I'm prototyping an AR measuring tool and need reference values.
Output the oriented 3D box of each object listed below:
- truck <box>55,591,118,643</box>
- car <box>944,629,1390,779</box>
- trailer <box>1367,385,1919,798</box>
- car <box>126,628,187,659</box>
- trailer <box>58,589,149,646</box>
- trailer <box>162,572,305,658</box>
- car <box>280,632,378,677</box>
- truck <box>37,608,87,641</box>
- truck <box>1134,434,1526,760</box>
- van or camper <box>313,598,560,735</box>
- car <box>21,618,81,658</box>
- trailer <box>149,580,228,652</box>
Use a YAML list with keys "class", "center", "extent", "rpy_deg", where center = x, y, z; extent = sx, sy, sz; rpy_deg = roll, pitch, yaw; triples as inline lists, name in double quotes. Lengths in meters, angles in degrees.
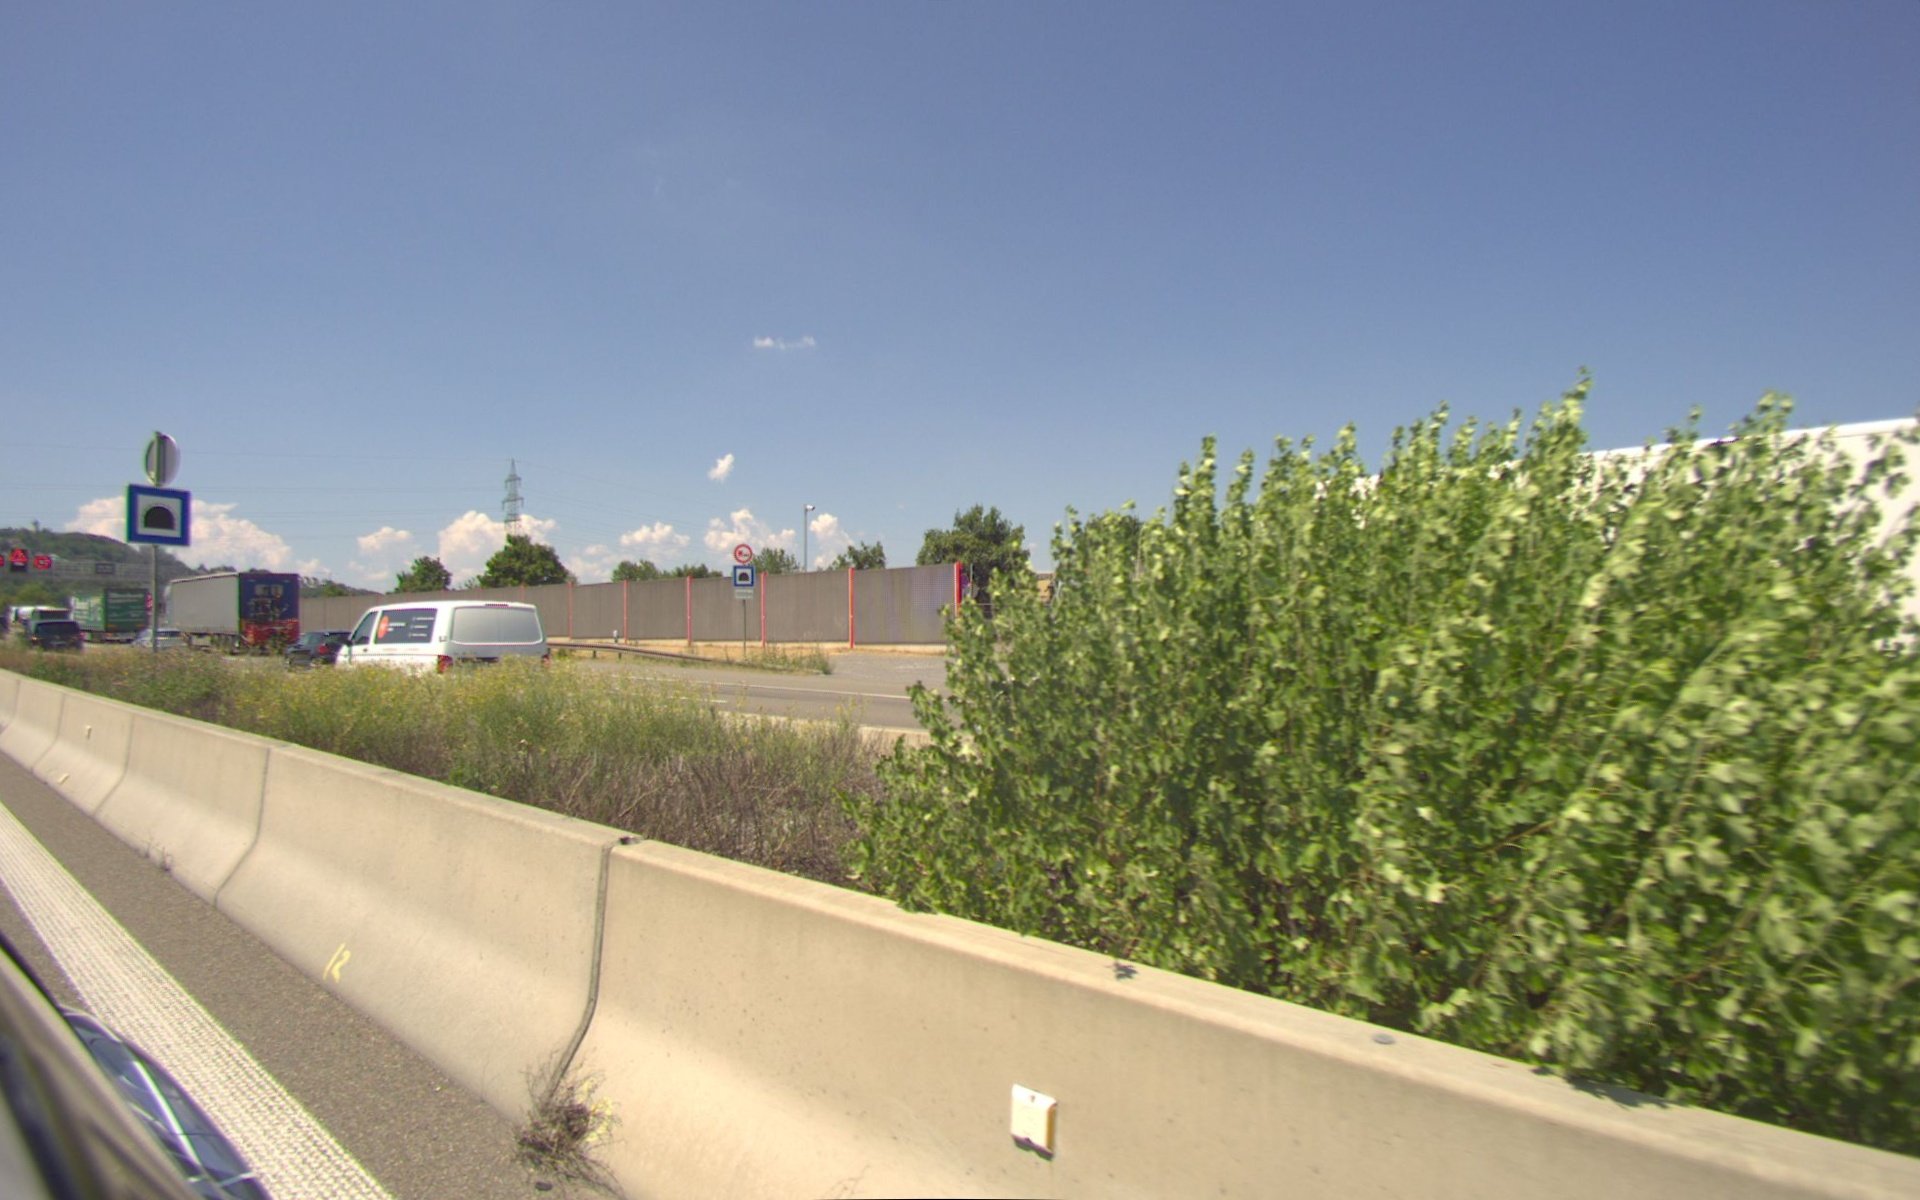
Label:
- class: "truck"
  center: [-70.978, 1.356, 82.228]
  extent: [5.018, 4.087, 3.189]
  rpy_deg: [-1, 0, 41]
- class: "car"
  center: [2.282, 1.093, 12.261]
  extent: [5.102, 1.441, 1.772]
  rpy_deg: [-1, -3, 41]
- class: "trailer"
  center: [8.543, -0.026, 11.744]
  extent: [6.614, 3.903, 2.620]
  rpy_deg: [-1, -2, 41]
- class: "car"
  center: [-38.637, 2.059, 48.641]
  extent: [3.740, 1.349, 1.633]
  rpy_deg: [-1, -1, 41]
- class: "trailer"
  center: [-65.929, 1.294, 77.723]
  extent: [14.384, 4.087, 3.222]
  rpy_deg: [-1, 0, 41]
- class: "trailer"
  center: [-39.215, 0.835, 54.231]
  extent: [15.156, 4.097, 2.953]
  rpy_deg: [-1, -1, 41]
- class: "car"
  center: [-20.269, 1.717, 32.453]
  extent: [3.494, 1.349, 1.715]
  rpy_deg: [-1, -3, 41]
- class: "truck"
  center: [-82.620, 2.253, 93.042]
  extent: [9.087, 2.895, 2.374]
  rpy_deg: [-1, -1, 41]
- class: "truck"
  center: [5.240, 0.020, 14.660]
  extent: [4.723, 3.903, 2.612]
  rpy_deg: [-1, -2, 41]
- class: "van or camper"
  center: [-9.186, 1.022, 17.503]
  extent: [5.442, 2.029, 1.973]
  rpy_deg: [-1, -1, 41]
- class: "car"
  center: [-41.657, 1.712, 46.365]
  extent: [3.740, 1.716, 1.633]
  rpy_deg: [-1, -1, 41]
- class: "trailer"
  center: [-45.719, 0.941, 59.959]
  extent: [4.454, 4.097, 2.929]
  rpy_deg: [-1, -1, 41]
